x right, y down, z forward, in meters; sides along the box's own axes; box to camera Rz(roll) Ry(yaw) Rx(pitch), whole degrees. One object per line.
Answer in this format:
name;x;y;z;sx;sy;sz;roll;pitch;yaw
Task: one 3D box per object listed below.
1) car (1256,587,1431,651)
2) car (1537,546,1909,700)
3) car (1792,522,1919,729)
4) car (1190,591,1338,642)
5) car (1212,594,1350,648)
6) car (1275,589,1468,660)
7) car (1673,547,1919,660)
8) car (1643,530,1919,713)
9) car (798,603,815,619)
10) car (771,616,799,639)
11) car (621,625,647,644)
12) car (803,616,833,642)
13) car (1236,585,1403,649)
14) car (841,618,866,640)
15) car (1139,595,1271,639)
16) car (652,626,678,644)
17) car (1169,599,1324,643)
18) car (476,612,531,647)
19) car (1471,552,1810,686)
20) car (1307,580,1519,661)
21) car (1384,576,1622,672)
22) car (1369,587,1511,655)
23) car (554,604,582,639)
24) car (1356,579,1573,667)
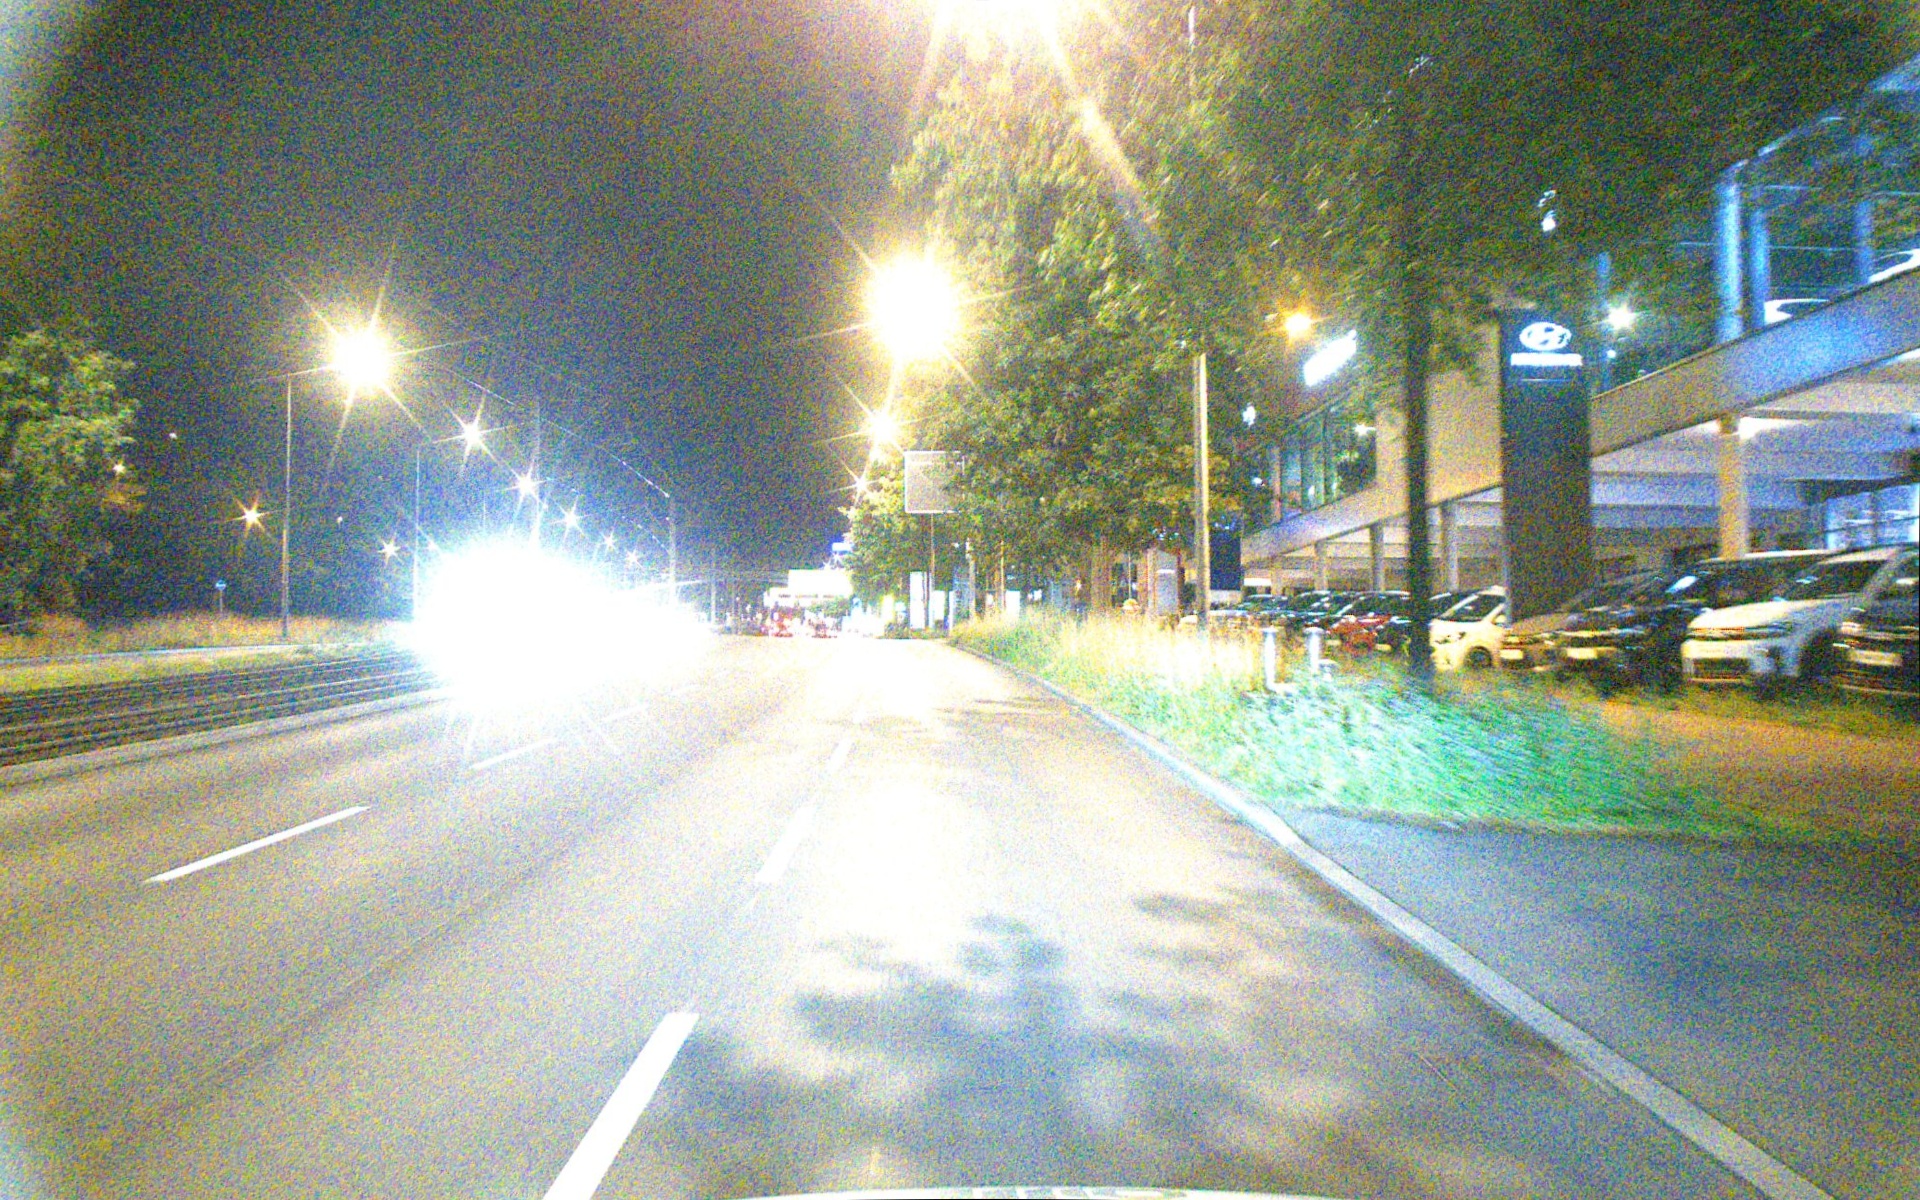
car;9.454;0.435;40.753;3.936;1.416;1.812;-2;1;-25
car;9.780;0.263;21.298;4.011;1.596;1.849;-4;1;-13
car;10.542;0.136;15.762;4.383;1.841;1.993;-3;0;-13
car;8.964;0.465;48.861;3.928;1.448;1.898;0;0;-20
car;8.972;0.590;46.215;3.557;1.459;1.666;1;-1;-26
car;9.509;0.548;38.324;3.918;1.405;1.803;-3;0;-13
car;16.040;0.085;30.868;1.817;1.951;4.761;1;-1;-38
car;10.246;0.136;18.540;4.385;1.716;1.993;-5;1;-13
car;-18.321;1.316;197.420;1.849;1.892;3.998;0;-1;-2
car;-15.504;2.417;146.799;2.217;2.049;4.823;0;-1;-2
car;-29.176;3.079;148.100;1.956;1.622;3.993;-2;0;-7
car;-12.317;2.521;143.681;2.309;2.166;4.823;0;-1;-2
car;9.461;0.432;43.516;3.931;1.495;1.821;-2;0;-22
car;-10.691;2.876;166.083;2.378;2.150;4.823;1;-1;-2
car;8.361;0.589;56.557;4.054;1.445;1.869;1;-1;-16
car;-25.090;2.954;140.871;1.588;1.465;4.335;-2;-1;-3
car;8.945;0.621;51.557;4.574;1.286;1.930;0;0;-27
car;-23.394;1.520;84.873;1.743;1.743;4.225;0;-1;-2
car;10.142;0.280;24.741;4.383;1.574;1.765;-5;-1;-12
car;9.608;0.426;35.127;3.962;1.397;1.816;-4;0;-18
car;9.817;0.409;29.967;3.740;1.478;1.710;-3;0;-16
car;14.343;0.657;49.536;1.575;1.827;3.809;1;-4;-42
car;-32.579;1.852;137.347;2.110;2.718;6.935;-2;-1;-14
car;9.911;0.435;32.560;3.706;1.402;1.709;-4;0;-16
